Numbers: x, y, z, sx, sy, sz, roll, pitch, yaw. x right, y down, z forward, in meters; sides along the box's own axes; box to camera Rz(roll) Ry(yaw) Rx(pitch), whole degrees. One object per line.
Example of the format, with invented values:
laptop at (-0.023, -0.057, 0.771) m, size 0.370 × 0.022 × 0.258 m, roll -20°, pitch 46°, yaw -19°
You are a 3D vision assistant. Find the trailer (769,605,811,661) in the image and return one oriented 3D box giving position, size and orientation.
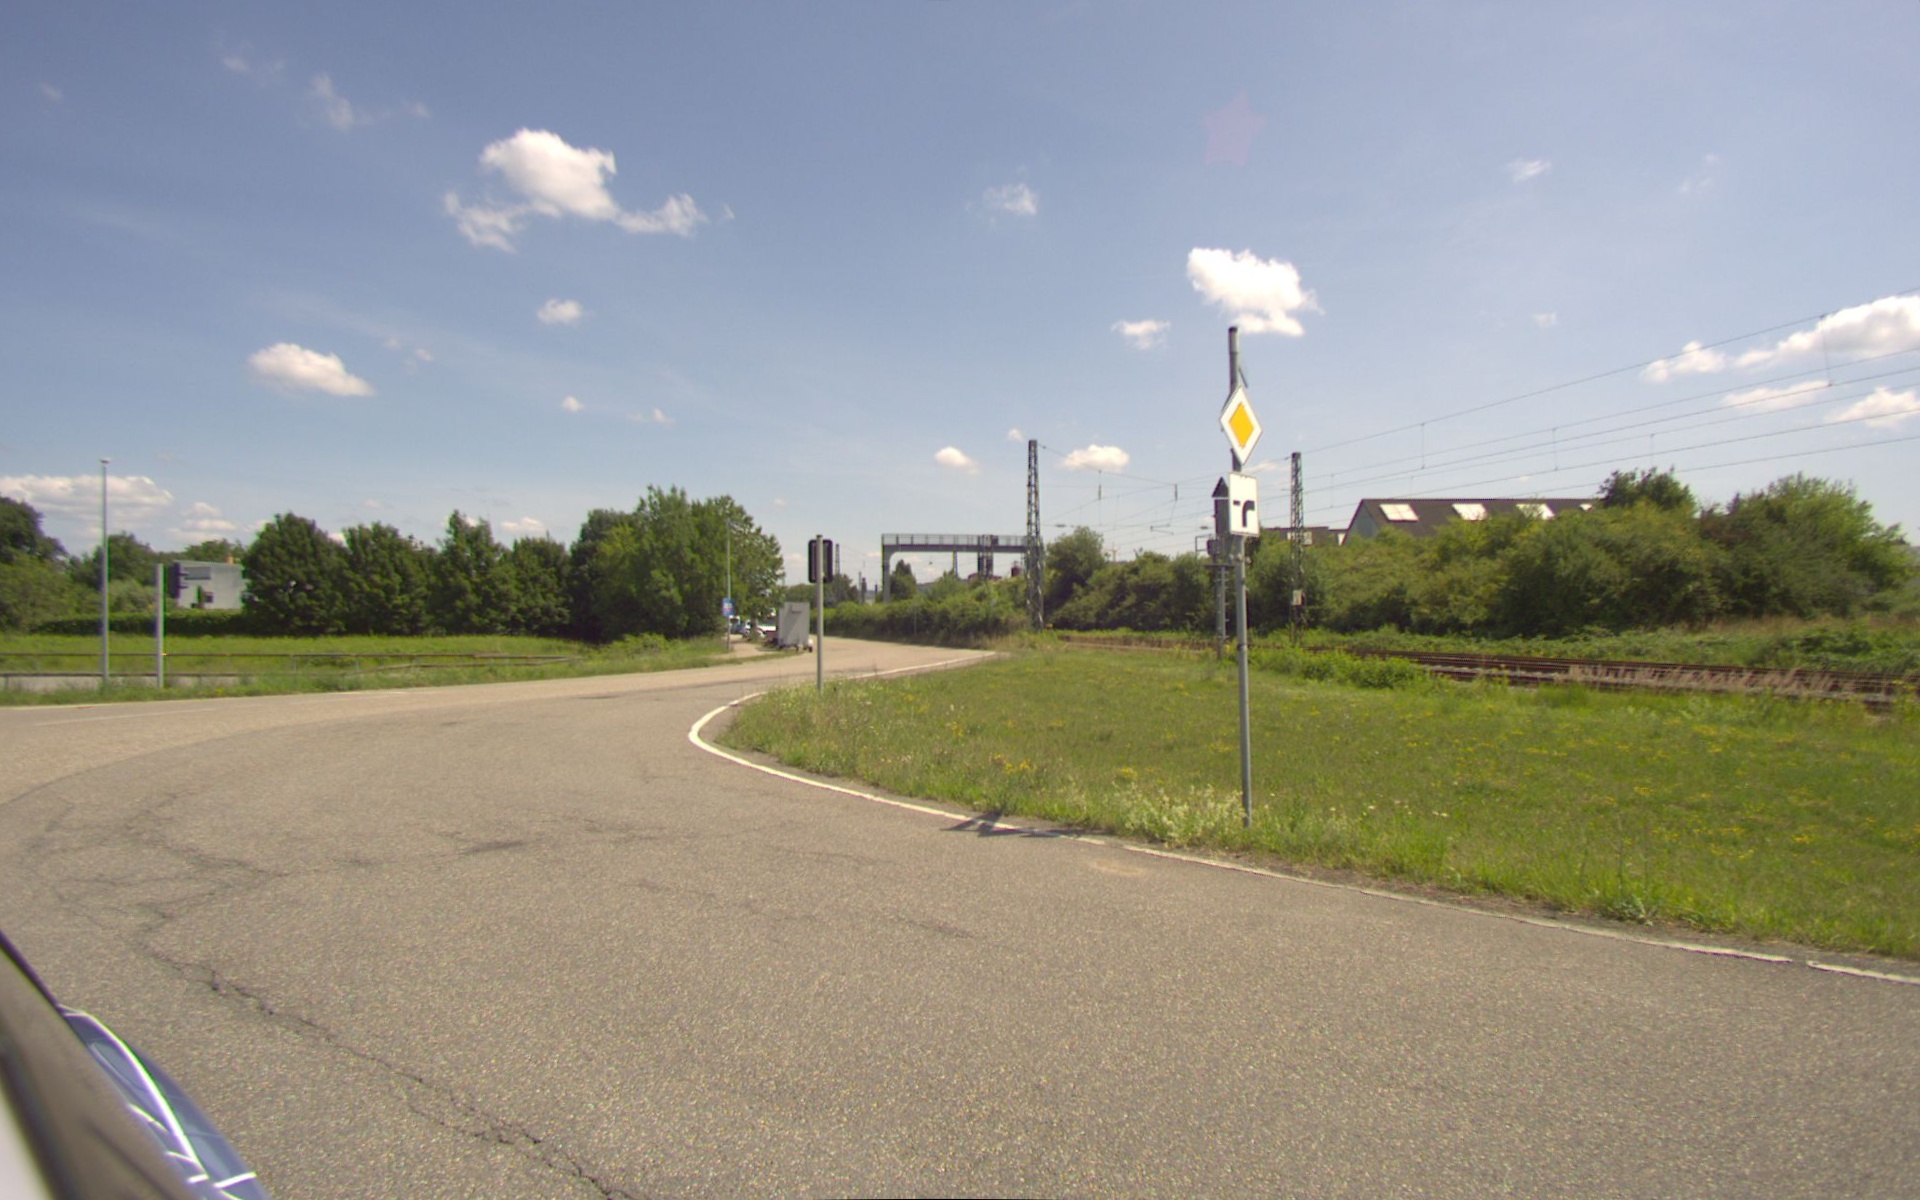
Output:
trailer at (-8.593, 1.670, 51.336) m, size 1.908 × 2.664 × 5.193 m, roll 2°, pitch -2°, yaw -9°

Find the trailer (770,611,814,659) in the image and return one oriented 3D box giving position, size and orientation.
trailer at (-9.483, 1.931, 56.864) m, size 1.893 × 2.527 × 4.753 m, roll 2°, pitch -2°, yaw -14°

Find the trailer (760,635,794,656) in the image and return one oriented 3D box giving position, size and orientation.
trailer at (-11.640, 2.850, 64.231) m, size 1.978 × 1.131 × 4.499 m, roll 2°, pitch -1°, yaw -12°

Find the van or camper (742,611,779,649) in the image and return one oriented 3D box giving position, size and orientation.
van or camper at (-16.258, 2.426, 82.091) m, size 2.406 × 2.848 × 7.644 m, roll 1°, pitch -2°, yaw -15°
